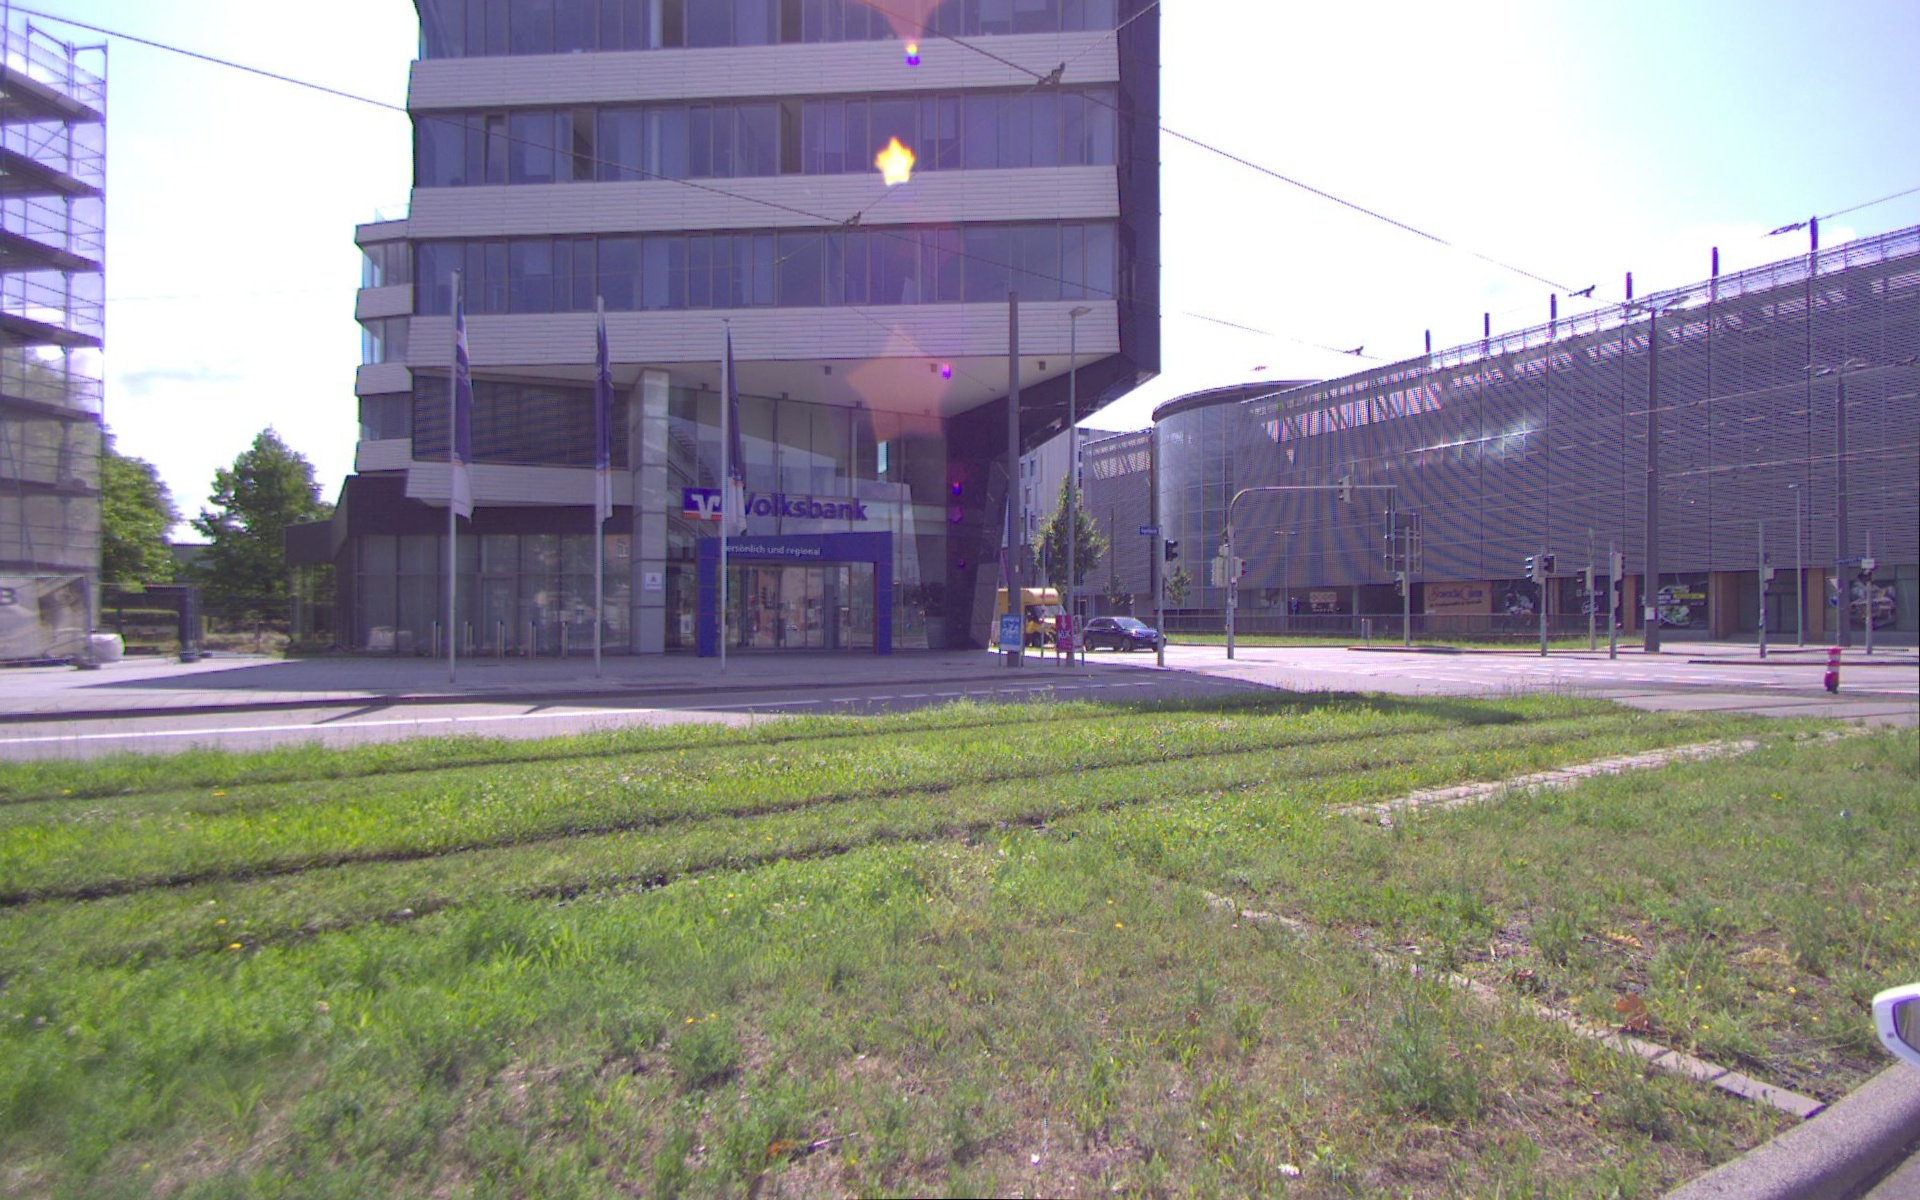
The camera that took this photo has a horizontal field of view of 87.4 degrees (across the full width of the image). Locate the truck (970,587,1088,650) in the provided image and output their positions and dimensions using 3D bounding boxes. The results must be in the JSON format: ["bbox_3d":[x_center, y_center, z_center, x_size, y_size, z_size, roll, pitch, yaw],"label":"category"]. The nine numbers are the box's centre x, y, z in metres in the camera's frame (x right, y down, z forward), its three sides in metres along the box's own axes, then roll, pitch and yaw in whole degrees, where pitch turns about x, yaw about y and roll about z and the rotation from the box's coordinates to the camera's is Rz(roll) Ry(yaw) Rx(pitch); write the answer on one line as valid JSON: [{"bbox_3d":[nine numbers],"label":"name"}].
[{"bbox_3d":[3.264,0.883,49.269,2.417,2.866,6.816,0,-1,-30],"label":"truck"}]

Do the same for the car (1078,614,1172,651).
[{"bbox_3d":[6.912,1.351,42.500,1.805,1.488,4.081,0,-1,-29],"label":"car"}]
